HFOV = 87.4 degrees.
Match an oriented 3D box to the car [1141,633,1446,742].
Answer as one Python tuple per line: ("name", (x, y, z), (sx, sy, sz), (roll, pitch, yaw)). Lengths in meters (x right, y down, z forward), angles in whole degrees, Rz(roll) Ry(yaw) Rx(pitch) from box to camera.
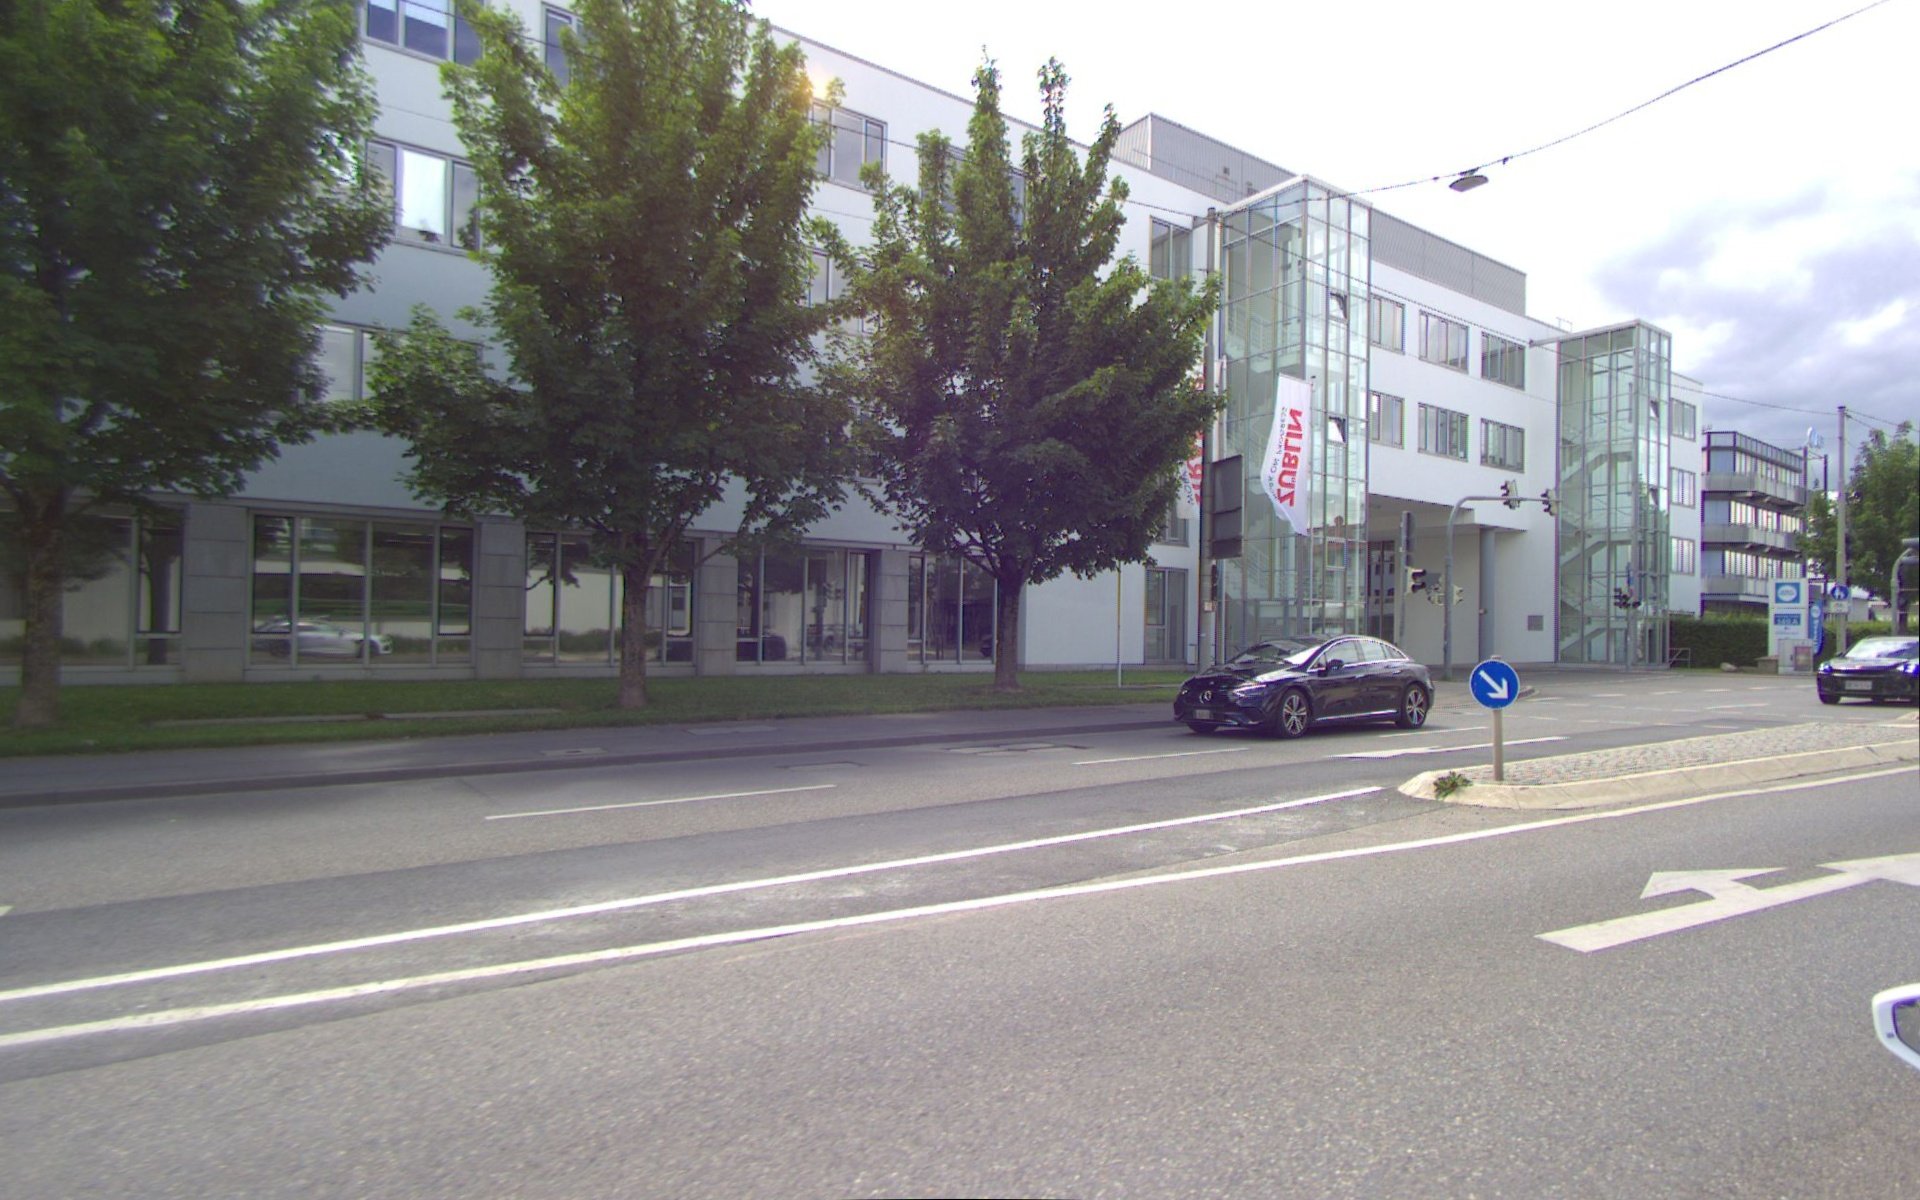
("car", (5.363, 1.314, 15.884), (5.000, 1.464, 2.011), (2, -4, -35))

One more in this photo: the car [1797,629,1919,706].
("car", (20.944, 1.514, 22.583), (4.488, 1.572, 1.876), (3, -3, -31))
